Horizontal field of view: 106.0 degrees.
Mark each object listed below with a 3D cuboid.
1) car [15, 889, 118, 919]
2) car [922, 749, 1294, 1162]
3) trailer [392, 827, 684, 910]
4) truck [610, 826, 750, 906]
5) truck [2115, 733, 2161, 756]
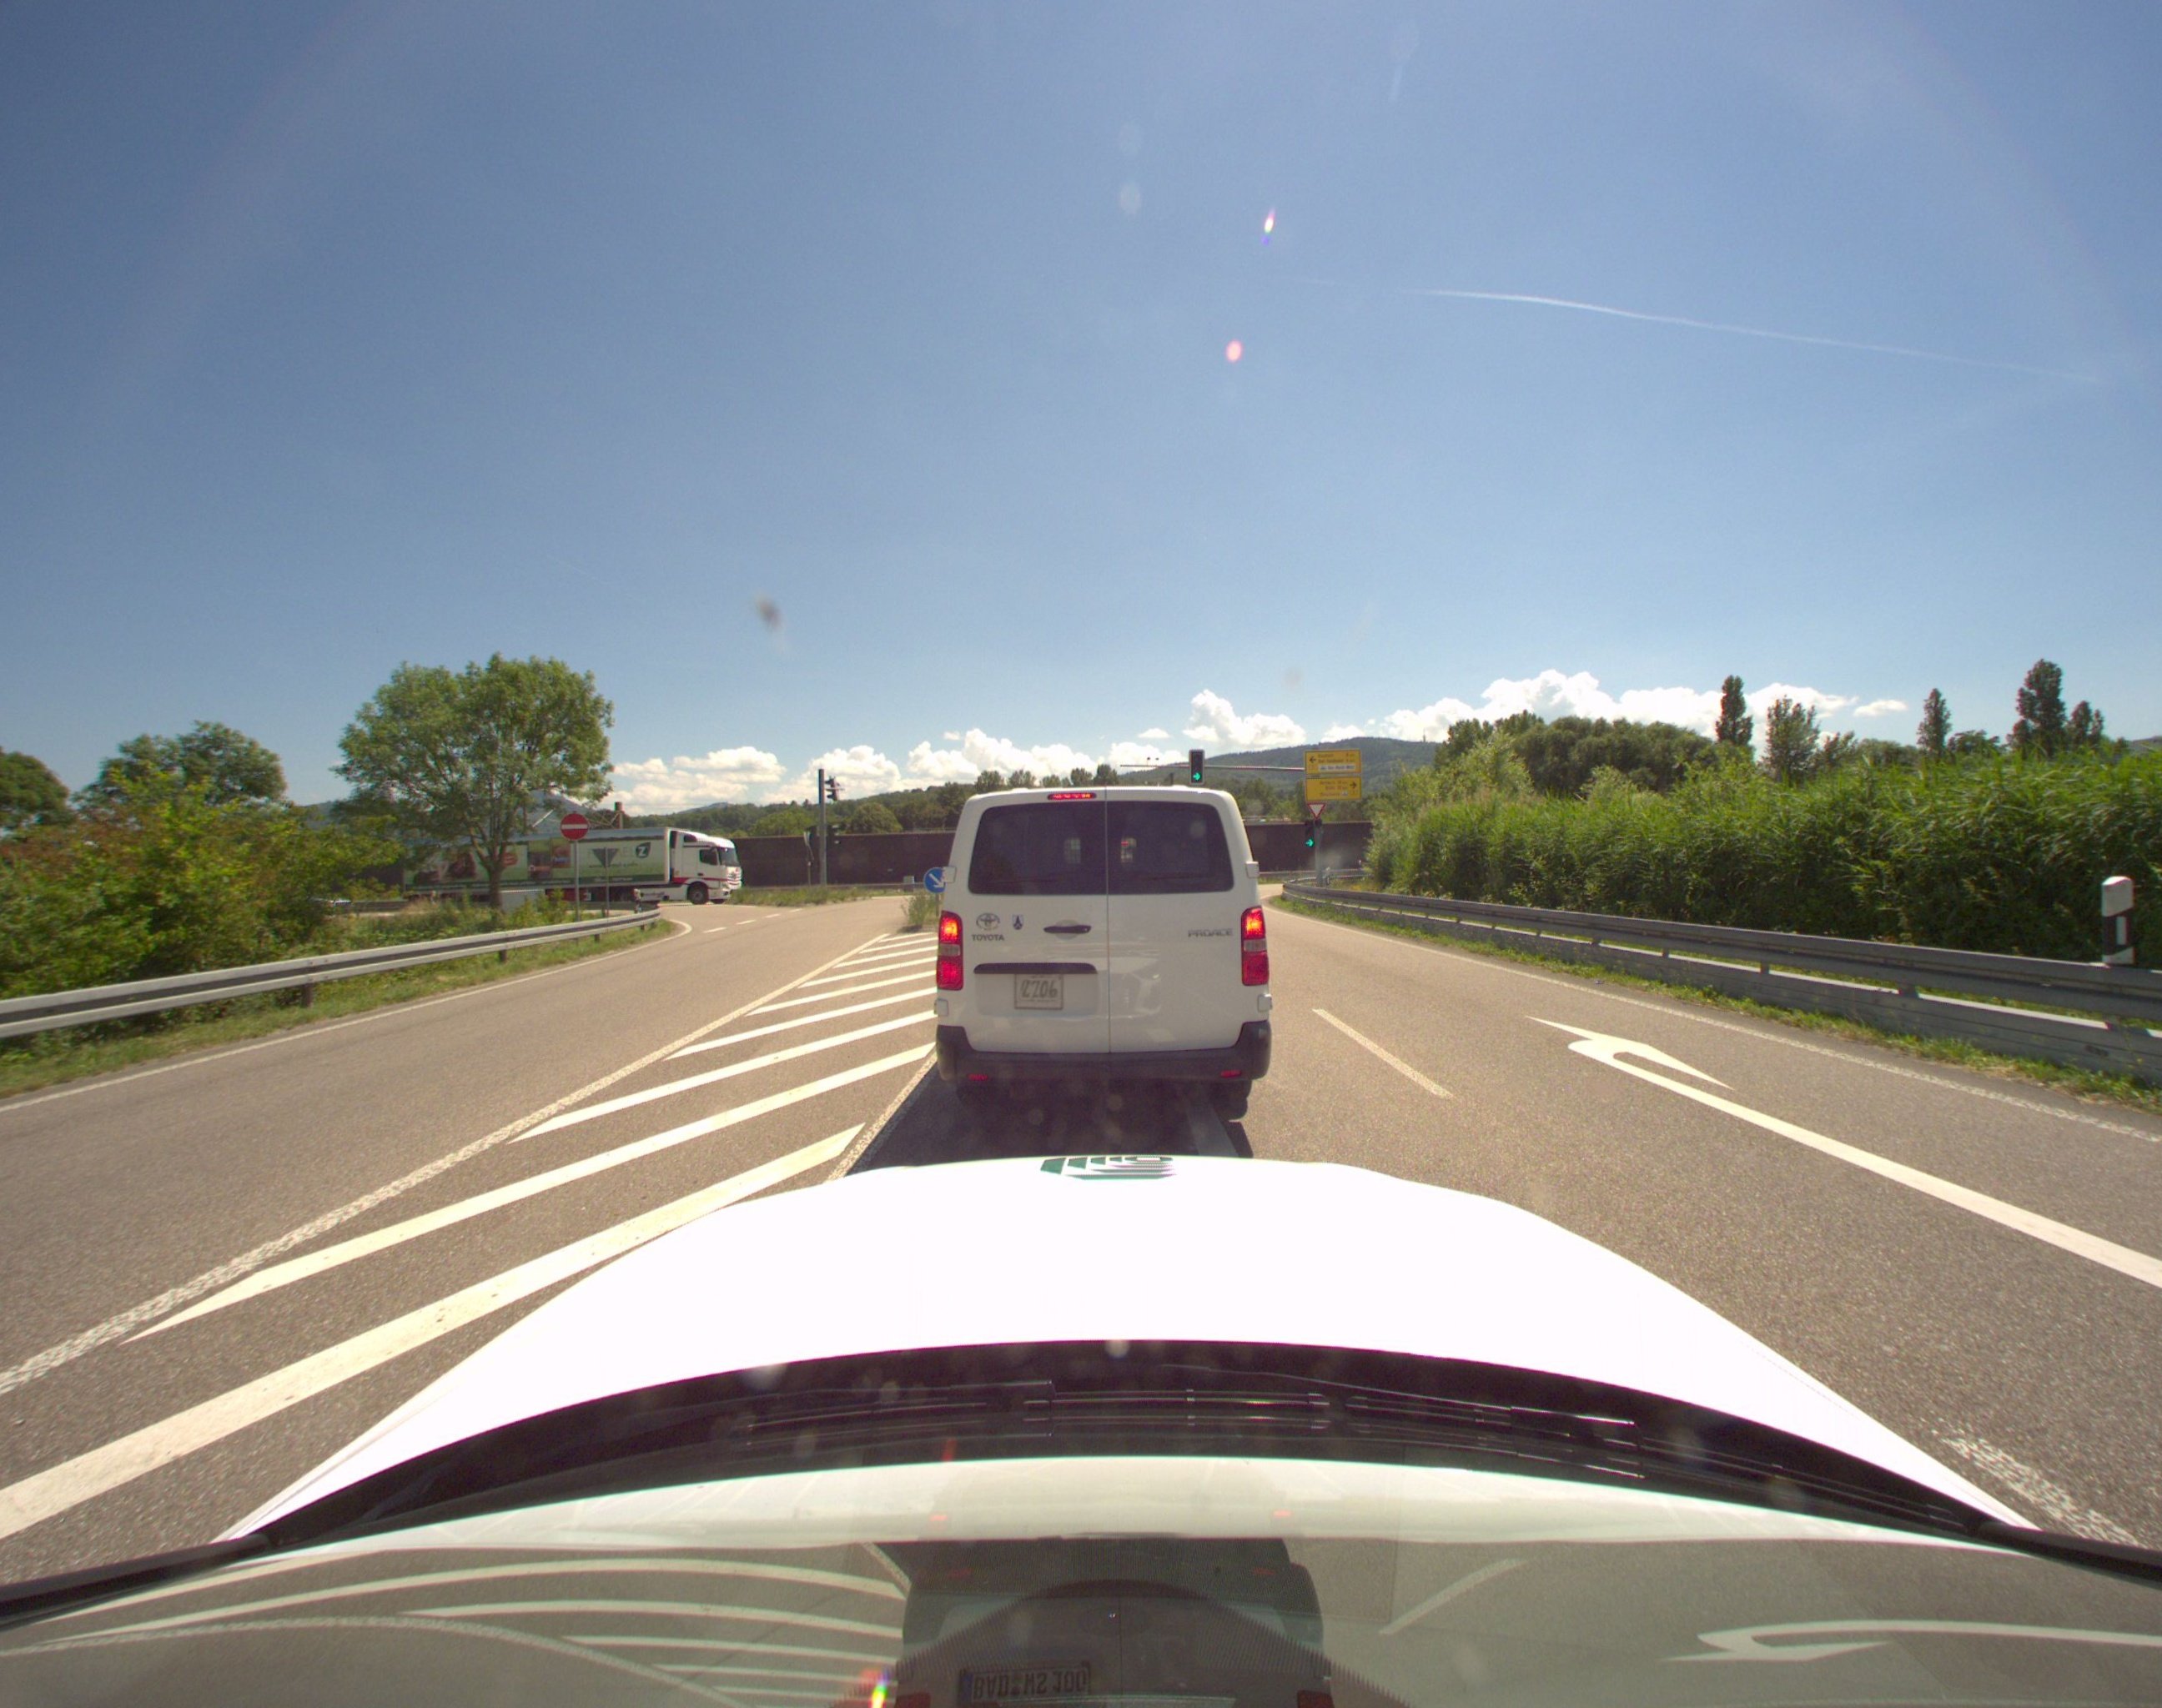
[{"bbox_3d":[-53.893,2.650,43.294,3.462,1.464,1.554,-1,-1,0],"label":"car"},{"bbox_3d":[0.189,0.521,6.047,1.808,2.018,4.001,-1,-1,2],"label":"car"},{"bbox_3d":[-28.211,0.744,42.725,13.098,3.954,3.061,-1,-1,0],"label":"trailer"},{"bbox_3d":[-20.953,0.607,42.781,5.746,3.954,3.062,-1,-1,0],"label":"truck"},{"bbox_3d":[133.315,-13.641,100.637,2.609,2.228,6.666,-1,-1,2],"label":"truck"}]
